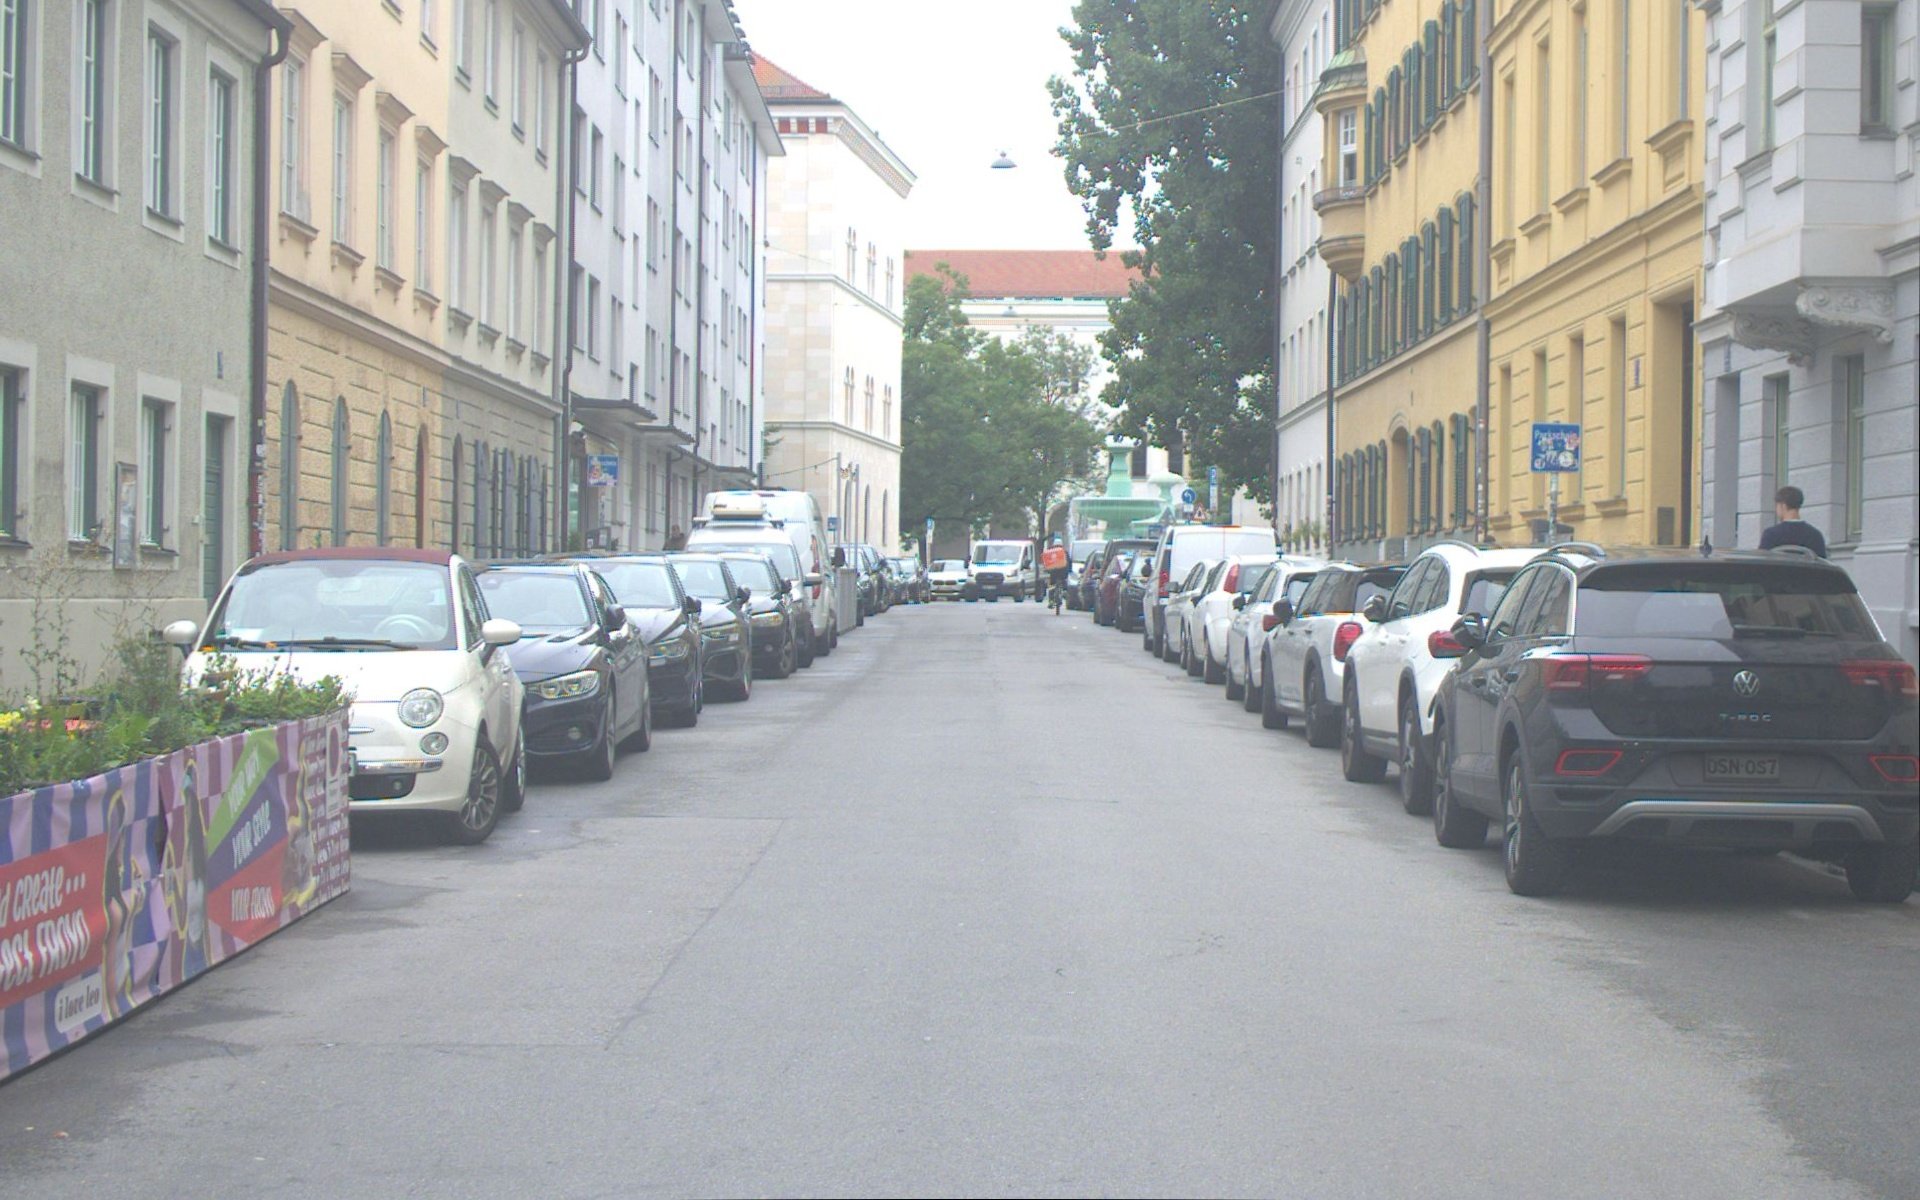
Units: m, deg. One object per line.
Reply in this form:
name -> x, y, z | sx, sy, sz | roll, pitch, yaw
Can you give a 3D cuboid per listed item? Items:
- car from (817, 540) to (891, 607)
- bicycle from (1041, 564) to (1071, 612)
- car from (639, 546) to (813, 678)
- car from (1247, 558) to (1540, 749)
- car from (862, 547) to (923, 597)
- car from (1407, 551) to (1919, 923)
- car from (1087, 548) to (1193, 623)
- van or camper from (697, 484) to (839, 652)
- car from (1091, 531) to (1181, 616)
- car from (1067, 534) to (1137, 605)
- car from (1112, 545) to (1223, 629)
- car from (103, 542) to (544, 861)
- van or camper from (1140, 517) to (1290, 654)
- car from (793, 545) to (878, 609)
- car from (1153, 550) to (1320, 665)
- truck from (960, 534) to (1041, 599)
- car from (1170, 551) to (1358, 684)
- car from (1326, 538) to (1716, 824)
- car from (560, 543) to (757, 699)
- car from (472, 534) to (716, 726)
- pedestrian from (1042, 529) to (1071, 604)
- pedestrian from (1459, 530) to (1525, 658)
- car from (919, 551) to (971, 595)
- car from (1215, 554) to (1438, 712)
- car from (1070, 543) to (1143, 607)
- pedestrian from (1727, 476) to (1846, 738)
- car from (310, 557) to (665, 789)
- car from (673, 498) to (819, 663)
car -> -2.563, -0.648, 83.682 | 1.706, 1.604, 3.863 | 0, 1, 0
bicycle -> 2.229, -0.278, 79.572 | 0.675, 1.091, 1.760 | 1, 0, 1
car -> -2.646, 0.104, 39.568 | 1.754, 1.404, 4.103 | 1, 1, -1
car -> 3.433, 0.377, 27.925 | 1.708, 1.400, 4.208 | 1, 1, -2
car -> -2.175, -0.919, 111.614 | 1.706, 1.604, 3.862 | 0, 1, 3
car -> 3.280, 0.547, 16.452 | 1.754, 1.516, 4.274 | 1, 1, 1
car -> 3.632, -0.306, 69.896 | 1.811, 1.420, 4.247 | 2, 1, -1
van or camper -> -2.724, -0.473, 49.847 | 1.754, 2.273, 5.273 | 1, 1, 0
car -> 3.935, -0.598, 77.407 | 1.812, 1.791, 4.246 | 2, 1, 1
car -> 3.959, -0.855, 96.682 | 1.852, 1.913, 4.769 | 1, 0, 1
car -> 3.883, -0.259, 64.909 | 1.812, 1.459, 4.247 | 2, 1, 0
car -> -3.253, 0.456, 18.221 | 1.754, 1.470, 3.714 | 2, 1, -2
van or camper -> 3.659, -0.236, 50.093 | 1.833, 1.865, 5.079 | 1, 1, 1
car -> -2.811, -0.532, 78.423 | 1.817, 1.439, 3.818 | 0, 1, 0
car -> 3.554, 0.069, 44.850 | 1.708, 1.388, 4.207 | 1, 1, -1
truck -> 1.480, -1.165, 123.349 | 2.121, 2.240, 6.183 | 1, 0, 8
car -> 3.498, 0.167, 40.195 | 1.708, 1.449, 4.097 | 1, 1, -1
car -> 3.390, 0.429, 21.569 | 1.743, 1.578, 4.466 | 1, 1, 1
car -> -2.953, 0.159, 34.322 | 1.816, 1.436, 4.132 | 0, 1, -3
car -> -3.054, 0.209, 29.387 | 1.754, 1.491, 4.201 | 1, 1, -2
pedestrian -> 2.229, -0.775, 79.669 | 0.642, 1.708, 0.843 | 1, -1, 1
pedestrian -> 6.635, -0.071, 42.891 | 0.660, 1.566, 0.642 | -2, -1, 0
car -> -0.536, -0.989, 126.170 | 1.706, 1.576, 3.862 | 0, 1, 3
car -> 3.516, 0.275, 33.690 | 1.708, 1.404, 4.814 | 1, 1, 1
car -> 3.842, -0.664, 90.809 | 1.812, 1.609, 4.155 | 1, 0, 1
pedestrian -> 6.387, 0.055, 26.592 | 0.669, 1.974, 0.708 | -2, -1, 1
car -> -3.114, 0.421, 23.524 | 1.798, 1.334, 4.686 | 1, 1, 0
car -> -2.775, -0.268, 44.610 | 1.754, 1.988, 4.626 | 1, 1, -4
